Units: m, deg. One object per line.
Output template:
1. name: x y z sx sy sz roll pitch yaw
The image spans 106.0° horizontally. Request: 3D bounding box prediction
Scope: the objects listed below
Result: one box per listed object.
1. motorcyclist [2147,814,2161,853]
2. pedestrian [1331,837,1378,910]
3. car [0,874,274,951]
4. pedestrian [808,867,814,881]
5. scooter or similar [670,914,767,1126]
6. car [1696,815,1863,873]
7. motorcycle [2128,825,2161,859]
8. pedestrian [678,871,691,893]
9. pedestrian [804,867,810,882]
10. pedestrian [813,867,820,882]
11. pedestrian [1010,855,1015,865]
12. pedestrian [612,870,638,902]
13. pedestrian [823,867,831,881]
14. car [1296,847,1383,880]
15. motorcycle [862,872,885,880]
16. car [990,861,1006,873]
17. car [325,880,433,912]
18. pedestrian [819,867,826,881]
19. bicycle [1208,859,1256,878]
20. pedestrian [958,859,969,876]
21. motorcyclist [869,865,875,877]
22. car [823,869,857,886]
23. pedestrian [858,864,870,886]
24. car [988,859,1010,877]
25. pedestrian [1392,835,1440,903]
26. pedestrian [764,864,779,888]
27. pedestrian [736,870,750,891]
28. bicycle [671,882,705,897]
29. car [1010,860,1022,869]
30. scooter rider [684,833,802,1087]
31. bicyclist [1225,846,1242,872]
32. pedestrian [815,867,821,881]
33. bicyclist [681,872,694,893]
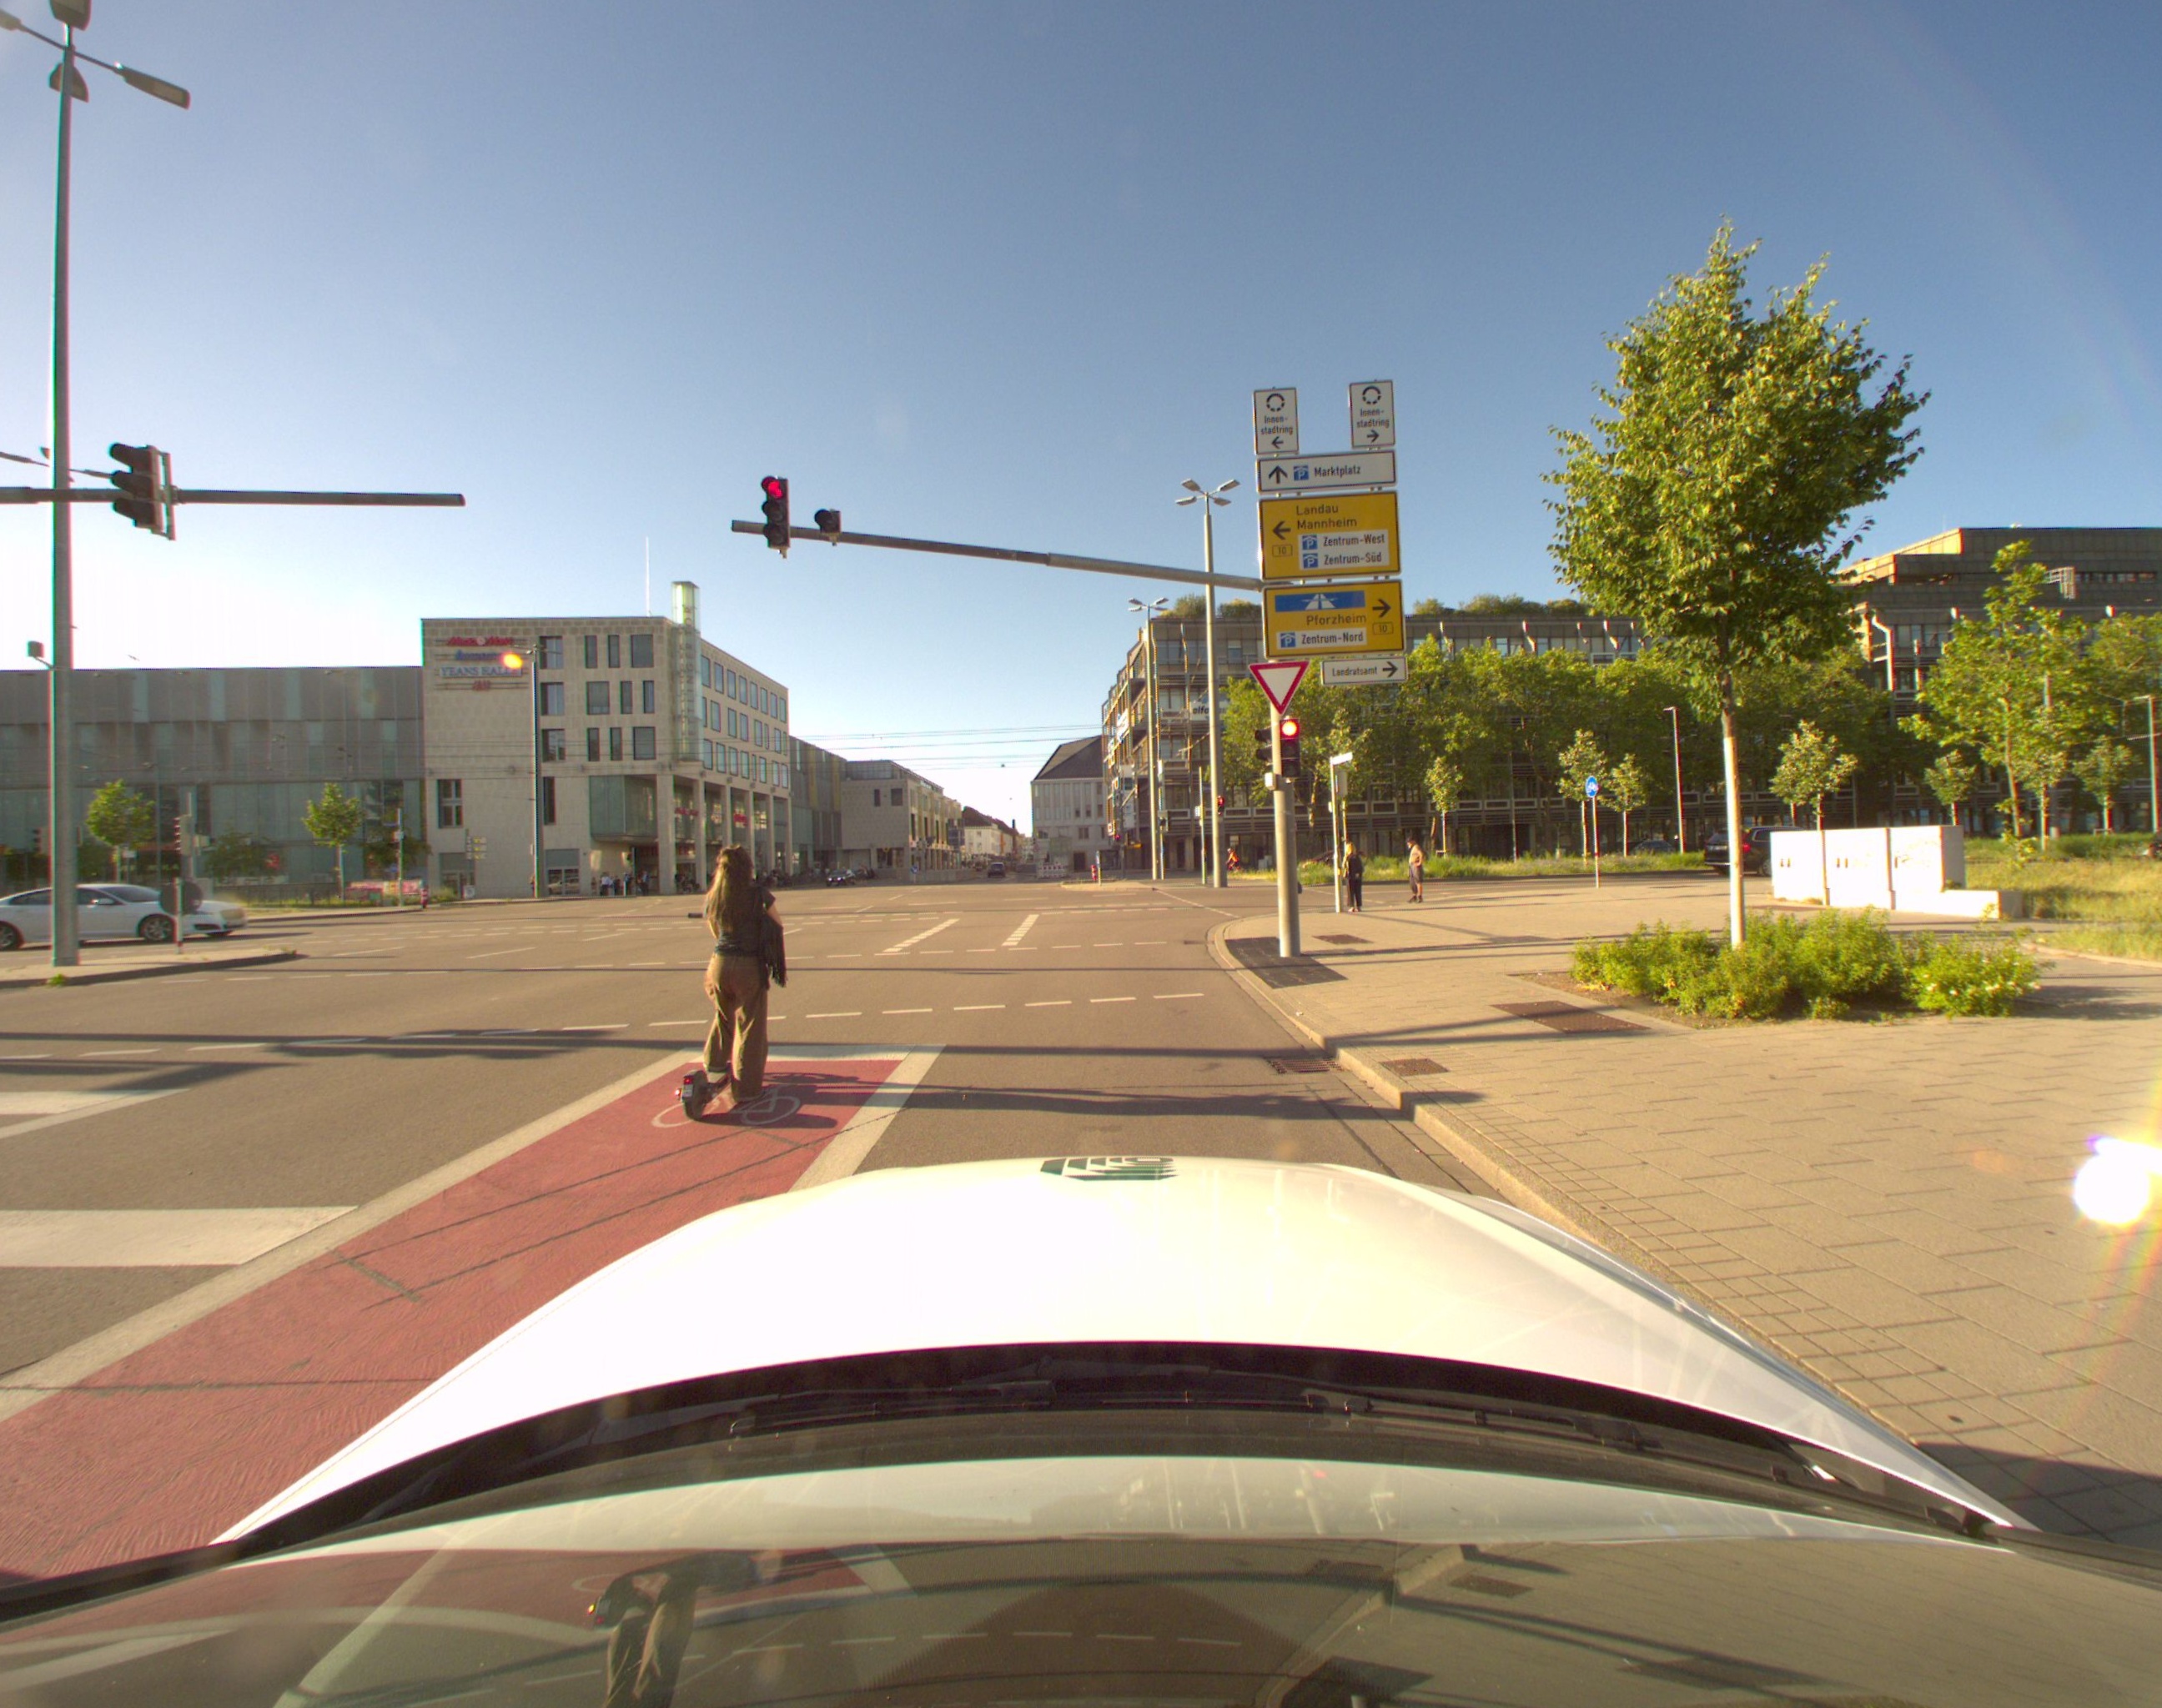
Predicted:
1. motorcyclist: 40.531 -0.769 30.403 0.656 1.423 0.647 -2 1 -6
2. pedestrian: 6.324 0.441 18.857 0.763 1.614 0.874 -2 0 0
3. car: -23.451 1.393 19.826 5.086 1.564 1.992 -2 0 -12
4. pedestrian: -32.310 2.381 97.511 0.465 1.729 0.524 -1 -1 40
5. scooter or similar: -2.189 0.956 4.973 0.306 1.107 0.835 -2 0 -9
6. car: 24.964 -0.350 29.151 4.816 1.864 1.880 -2 0 -10
7. motorcycle: 40.705 -0.485 30.418 2.591 1.208 0.728 -2 1 -6
8. pedestrian: -30.492 2.163 62.663 0.590 1.646 0.629 -2 0 1
9. pedestrian: -32.276 2.368 95.957 0.465 1.729 0.524 -1 -1 40
10. pedestrian: -30.789 2.352 94.727 0.465 1.729 0.632 -1 -1 35
11. pedestrian: -13.907 1.195 165.265 0.907 1.965 0.823 0 -1 1
12. pedestrian: -25.123 1.766 44.913 0.821 1.675 1.004 -2 0 -2
13. pedestrian: -29.808 2.347 95.630 0.465 1.729 0.699 -1 -1 40
14. car: 14.649 0.526 46.237 4.287 1.684 1.820 -2 0 -9
15. motorcycle: -25.113 2.660 98.720 2.600 0.993 1.113 0 -1 -8
16. car: -11.019 1.753 108.531 1.652 1.458 3.543 -2 0 2
17. car: -43.068 2.561 50.040 4.834 1.684 1.823 -2 0 -4
18. pedestrian: -30.945 2.371 97.595 0.465 1.729 0.632 -1 -1 30
19. bicycle: 8.715 0.820 47.060 2.561 0.975 1.047 -2 0 -1
20. pedestrian: -12.130 1.387 84.212 0.896 1.782 0.809 -2 0 1
21. motorcyclist: -25.363 2.089 98.715 0.627 1.406 0.661 0 -1 -7
22. car: -20.820 2.002 70.468 1.670 1.357 4.021 -2 0 1
23. pedestrian: -17.048 1.637 63.839 0.697 1.688 0.620 -2 0 2
24. car: -7.982 1.359 79.605 1.815 1.684 3.995 -2 0 -3
25. pedestrian: 8.649 0.379 21.047 0.869 1.706 0.768 -2 0 0
26. pedestrian: -25.146 1.794 66.117 0.935 1.864 0.541 -2 0 18
27. pedestrian: -27.722 2.174 66.739 0.770 1.638 0.629 -2 0 17
28. bicycle: -28.341 2.548 58.758 0.629 0.903 2.232 -2 0 28
29. car: -11.626 1.822 146.063 1.652 1.458 3.543 -2 0 2
30. scooter rider: -2.150 0.646 5.228 0.552 1.530 0.448 -2 0 -7
31. bicyclist: 8.827 0.308 47.076 0.820 1.474 0.652 -2 0 -2
32. pedestrian: -31.555 2.433 97.709 0.465 1.683 0.524 -1 -1 40
33. bicyclist: -28.353 2.061 58.707 0.620 1.448 0.592 -2 0 29
